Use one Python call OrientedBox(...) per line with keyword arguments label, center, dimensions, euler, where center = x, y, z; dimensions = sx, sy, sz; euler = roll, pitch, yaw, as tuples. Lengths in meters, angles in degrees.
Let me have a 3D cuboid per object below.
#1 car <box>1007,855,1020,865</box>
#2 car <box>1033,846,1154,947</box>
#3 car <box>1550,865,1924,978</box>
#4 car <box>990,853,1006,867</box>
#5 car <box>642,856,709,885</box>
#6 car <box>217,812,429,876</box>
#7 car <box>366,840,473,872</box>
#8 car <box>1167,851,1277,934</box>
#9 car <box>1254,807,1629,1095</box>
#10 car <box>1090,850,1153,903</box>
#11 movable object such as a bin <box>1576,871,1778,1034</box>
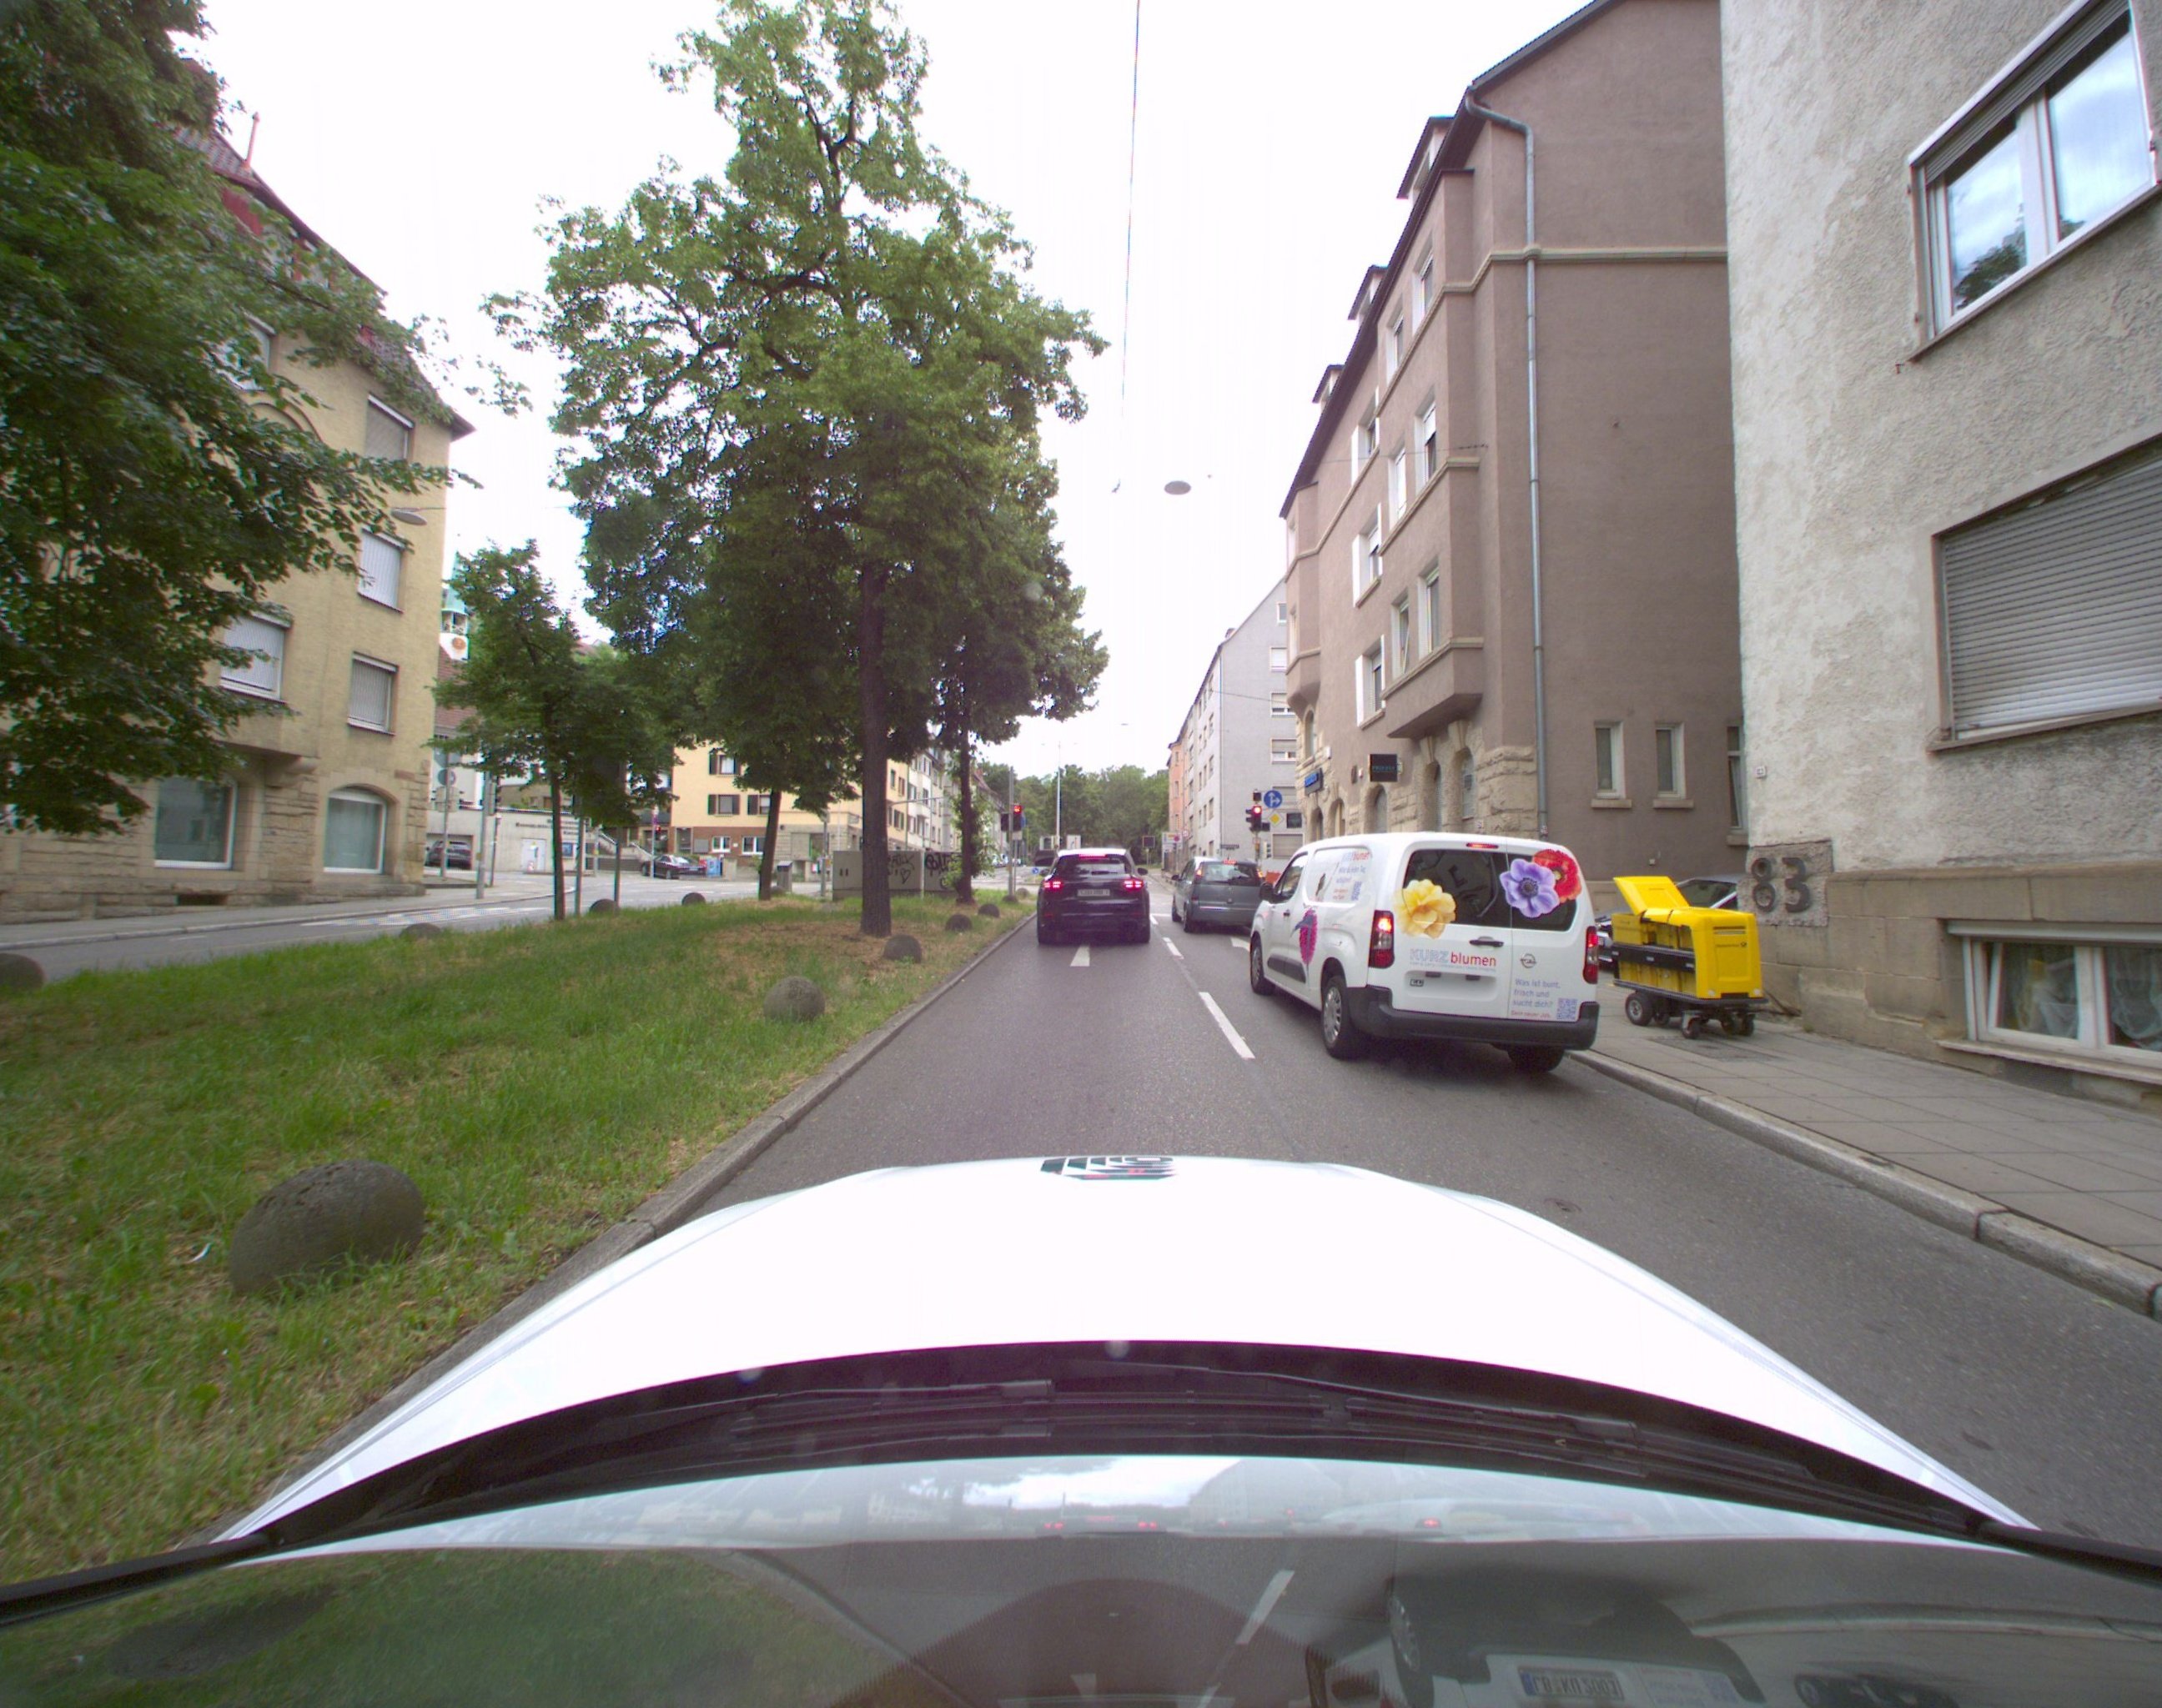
OrientedBox(label="car", center=(-11.230, 0.979, 135.150), dimensions=(1.788, 1.510, 4.000), euler=(0, 0, 1))
OrientedBox(label="car", center=(0.300, 0.686, 15.431), dimensions=(1.986, 1.653, 4.003), euler=(-1, 0, 3))
OrientedBox(label="car", center=(9.338, 0.913, 11.872), dimensions=(3.971, 1.403, 1.801), euler=(0, 2, 2))
OrientedBox(label="car", center=(-11.601, 0.822, 113.914), dimensions=(1.788, 1.810, 4.000), euler=(0, 0, 1))
OrientedBox(label="car", center=(-24.241, 0.998, 48.646), dimensions=(3.948, 1.665, 1.894), euler=(-1, -2, 35))
OrientedBox(label="car", center=(-27.356, -0.325, 29.656), dimensions=(5.187, 2.064, 1.981), euler=(2, -1, -22))
OrientedBox(label="car", center=(-32.698, 0.111, 40.311), dimensions=(4.021, 1.510, 1.778), euler=(1, -1, -42))
OrientedBox(label="car", center=(2.991, 0.771, 18.005), dimensions=(1.747, 1.593, 3.629), euler=(2, 0, 0))
OrientedBox(label="car", center=(2.885, 0.686, 7.840), dimensions=(1.840, 1.825, 5.028), euler=(1, -2, 6))
OrientedBox(label="car", center=(1.372, 0.734, 27.604), dimensions=(1.986, 1.653, 4.003), euler=(-1, -1, 3))
OrientedBox(label="movable object such as a bin", center=(5.764, 0.880, 8.015), dimensions=(0.717, 1.421, 1.693), euler=(-1, -1, 0))
